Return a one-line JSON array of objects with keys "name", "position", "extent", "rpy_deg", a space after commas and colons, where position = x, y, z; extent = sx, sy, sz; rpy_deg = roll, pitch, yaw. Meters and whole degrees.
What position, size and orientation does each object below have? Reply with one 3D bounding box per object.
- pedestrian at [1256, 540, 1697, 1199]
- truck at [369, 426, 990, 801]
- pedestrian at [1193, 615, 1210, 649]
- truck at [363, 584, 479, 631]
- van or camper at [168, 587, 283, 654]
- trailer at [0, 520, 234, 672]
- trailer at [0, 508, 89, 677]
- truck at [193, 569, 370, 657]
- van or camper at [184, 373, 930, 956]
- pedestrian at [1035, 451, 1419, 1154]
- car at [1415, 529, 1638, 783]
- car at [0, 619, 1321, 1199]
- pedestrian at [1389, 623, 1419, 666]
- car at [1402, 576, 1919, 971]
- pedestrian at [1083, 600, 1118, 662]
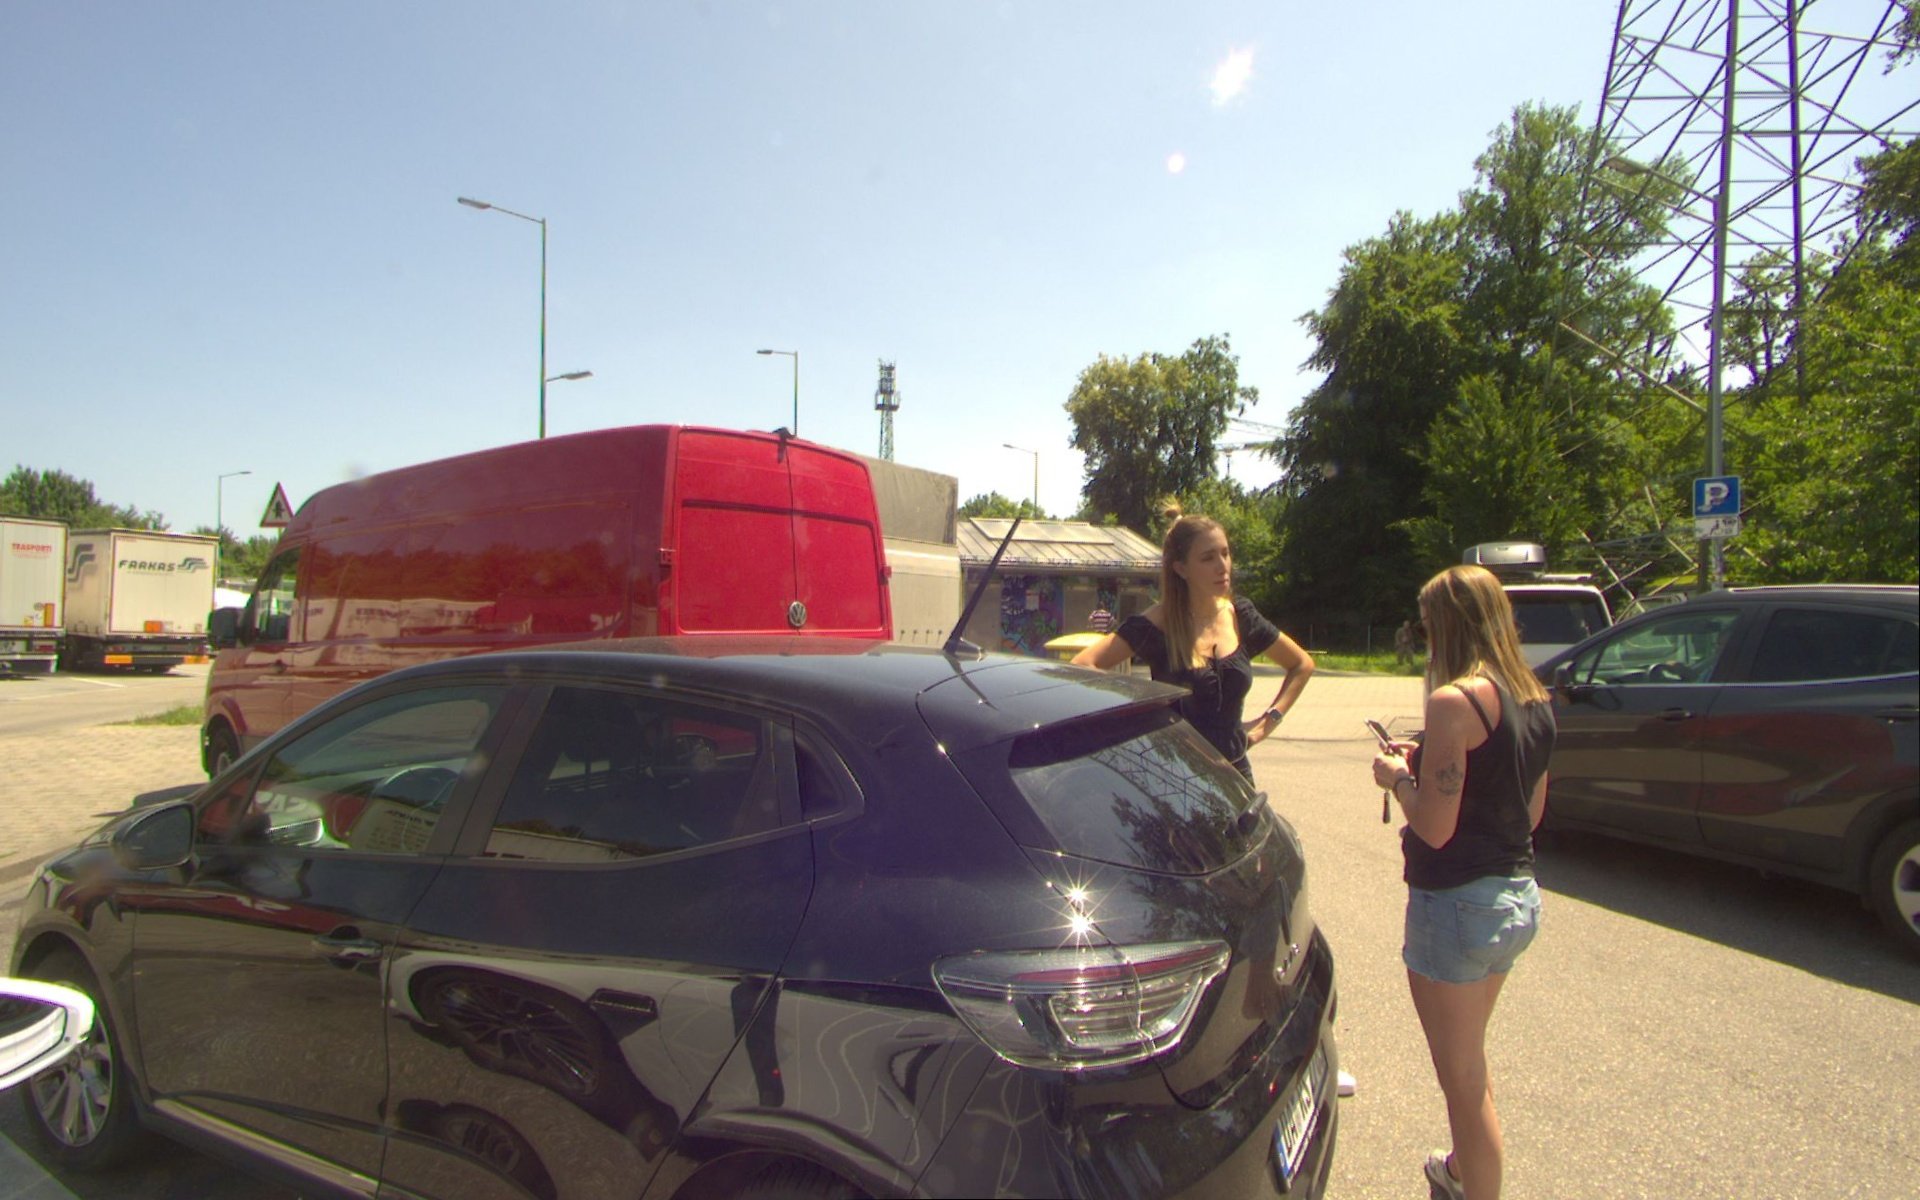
[{"name": "pedestrian", "position": [1.167, 0.698, 2.361], "extent": [0.642, 1.606, 0.648], "rpy_deg": [1, 0, -14]}, {"name": "truck", "position": [-3.240, 0.133, 10.547], "extent": [6.874, 2.828, 2.460], "rpy_deg": [0, -1, 35]}, {"name": "pedestrian", "position": [11.134, 1.468, 46.153], "extent": [0.577, 1.536, 0.592], "rpy_deg": [1, 0, -10]}, {"name": "truck", "position": [-34.696, 0.470, 64.270], "extent": [9.637, 2.857, 2.121], "rpy_deg": [0, -1, 33]}, {"name": "van or camper", "position": [-30.388, 0.822, 41.377], "extent": [5.296, 2.595, 2.100], "rpy_deg": [0, -1, 34]}, {"name": "trailer", "position": [-27.271, -0.198, 31.455], "extent": [12.255, 4.090, 2.862], "rpy_deg": [2, -1, 33]}, {"name": "trailer", "position": [-28.332, -0.329, 27.790], "extent": [12.255, 4.090, 2.862], "rpy_deg": [2, -1, 33]}, {"name": "truck", "position": [-31.668, 0.509, 46.467], "extent": [11.255, 3.615, 2.484], "rpy_deg": [2, -1, 33]}, {"name": "van or camper", "position": [-3.354, 0.324, 7.329], "extent": [6.394, 2.688, 1.990], "rpy_deg": [0, -1, 36]}, {"name": "pedestrian", "position": [0.806, 0.562, 3.198], "extent": [0.900, 1.896, 0.773], "rpy_deg": [1, 0, -15]}, {"name": "car", "position": [6.560, 0.569, 11.545], "extent": [1.892, 2.354, 4.074], "rpy_deg": [-1, -1, 32]}, {"name": "car", "position": [-1.040, 0.835, 2.833], "extent": [3.706, 1.503, 1.615], "rpy_deg": [0, -1, 27]}, {"name": "pedestrian", "position": [14.385, 1.439, 32.447], "extent": [0.695, 1.392, 0.607], "rpy_deg": [1, 0, -3]}, {"name": "car", "position": [4.571, 0.747, 5.407], "extent": [1.817, 1.644, 4.043], "rpy_deg": [0, -1, -17]}, {"name": "pedestrian", "position": [3.799, 0.832, 27.084], "extent": [0.742, 1.629, 0.765], "rpy_deg": [1, 0, -8]}]
